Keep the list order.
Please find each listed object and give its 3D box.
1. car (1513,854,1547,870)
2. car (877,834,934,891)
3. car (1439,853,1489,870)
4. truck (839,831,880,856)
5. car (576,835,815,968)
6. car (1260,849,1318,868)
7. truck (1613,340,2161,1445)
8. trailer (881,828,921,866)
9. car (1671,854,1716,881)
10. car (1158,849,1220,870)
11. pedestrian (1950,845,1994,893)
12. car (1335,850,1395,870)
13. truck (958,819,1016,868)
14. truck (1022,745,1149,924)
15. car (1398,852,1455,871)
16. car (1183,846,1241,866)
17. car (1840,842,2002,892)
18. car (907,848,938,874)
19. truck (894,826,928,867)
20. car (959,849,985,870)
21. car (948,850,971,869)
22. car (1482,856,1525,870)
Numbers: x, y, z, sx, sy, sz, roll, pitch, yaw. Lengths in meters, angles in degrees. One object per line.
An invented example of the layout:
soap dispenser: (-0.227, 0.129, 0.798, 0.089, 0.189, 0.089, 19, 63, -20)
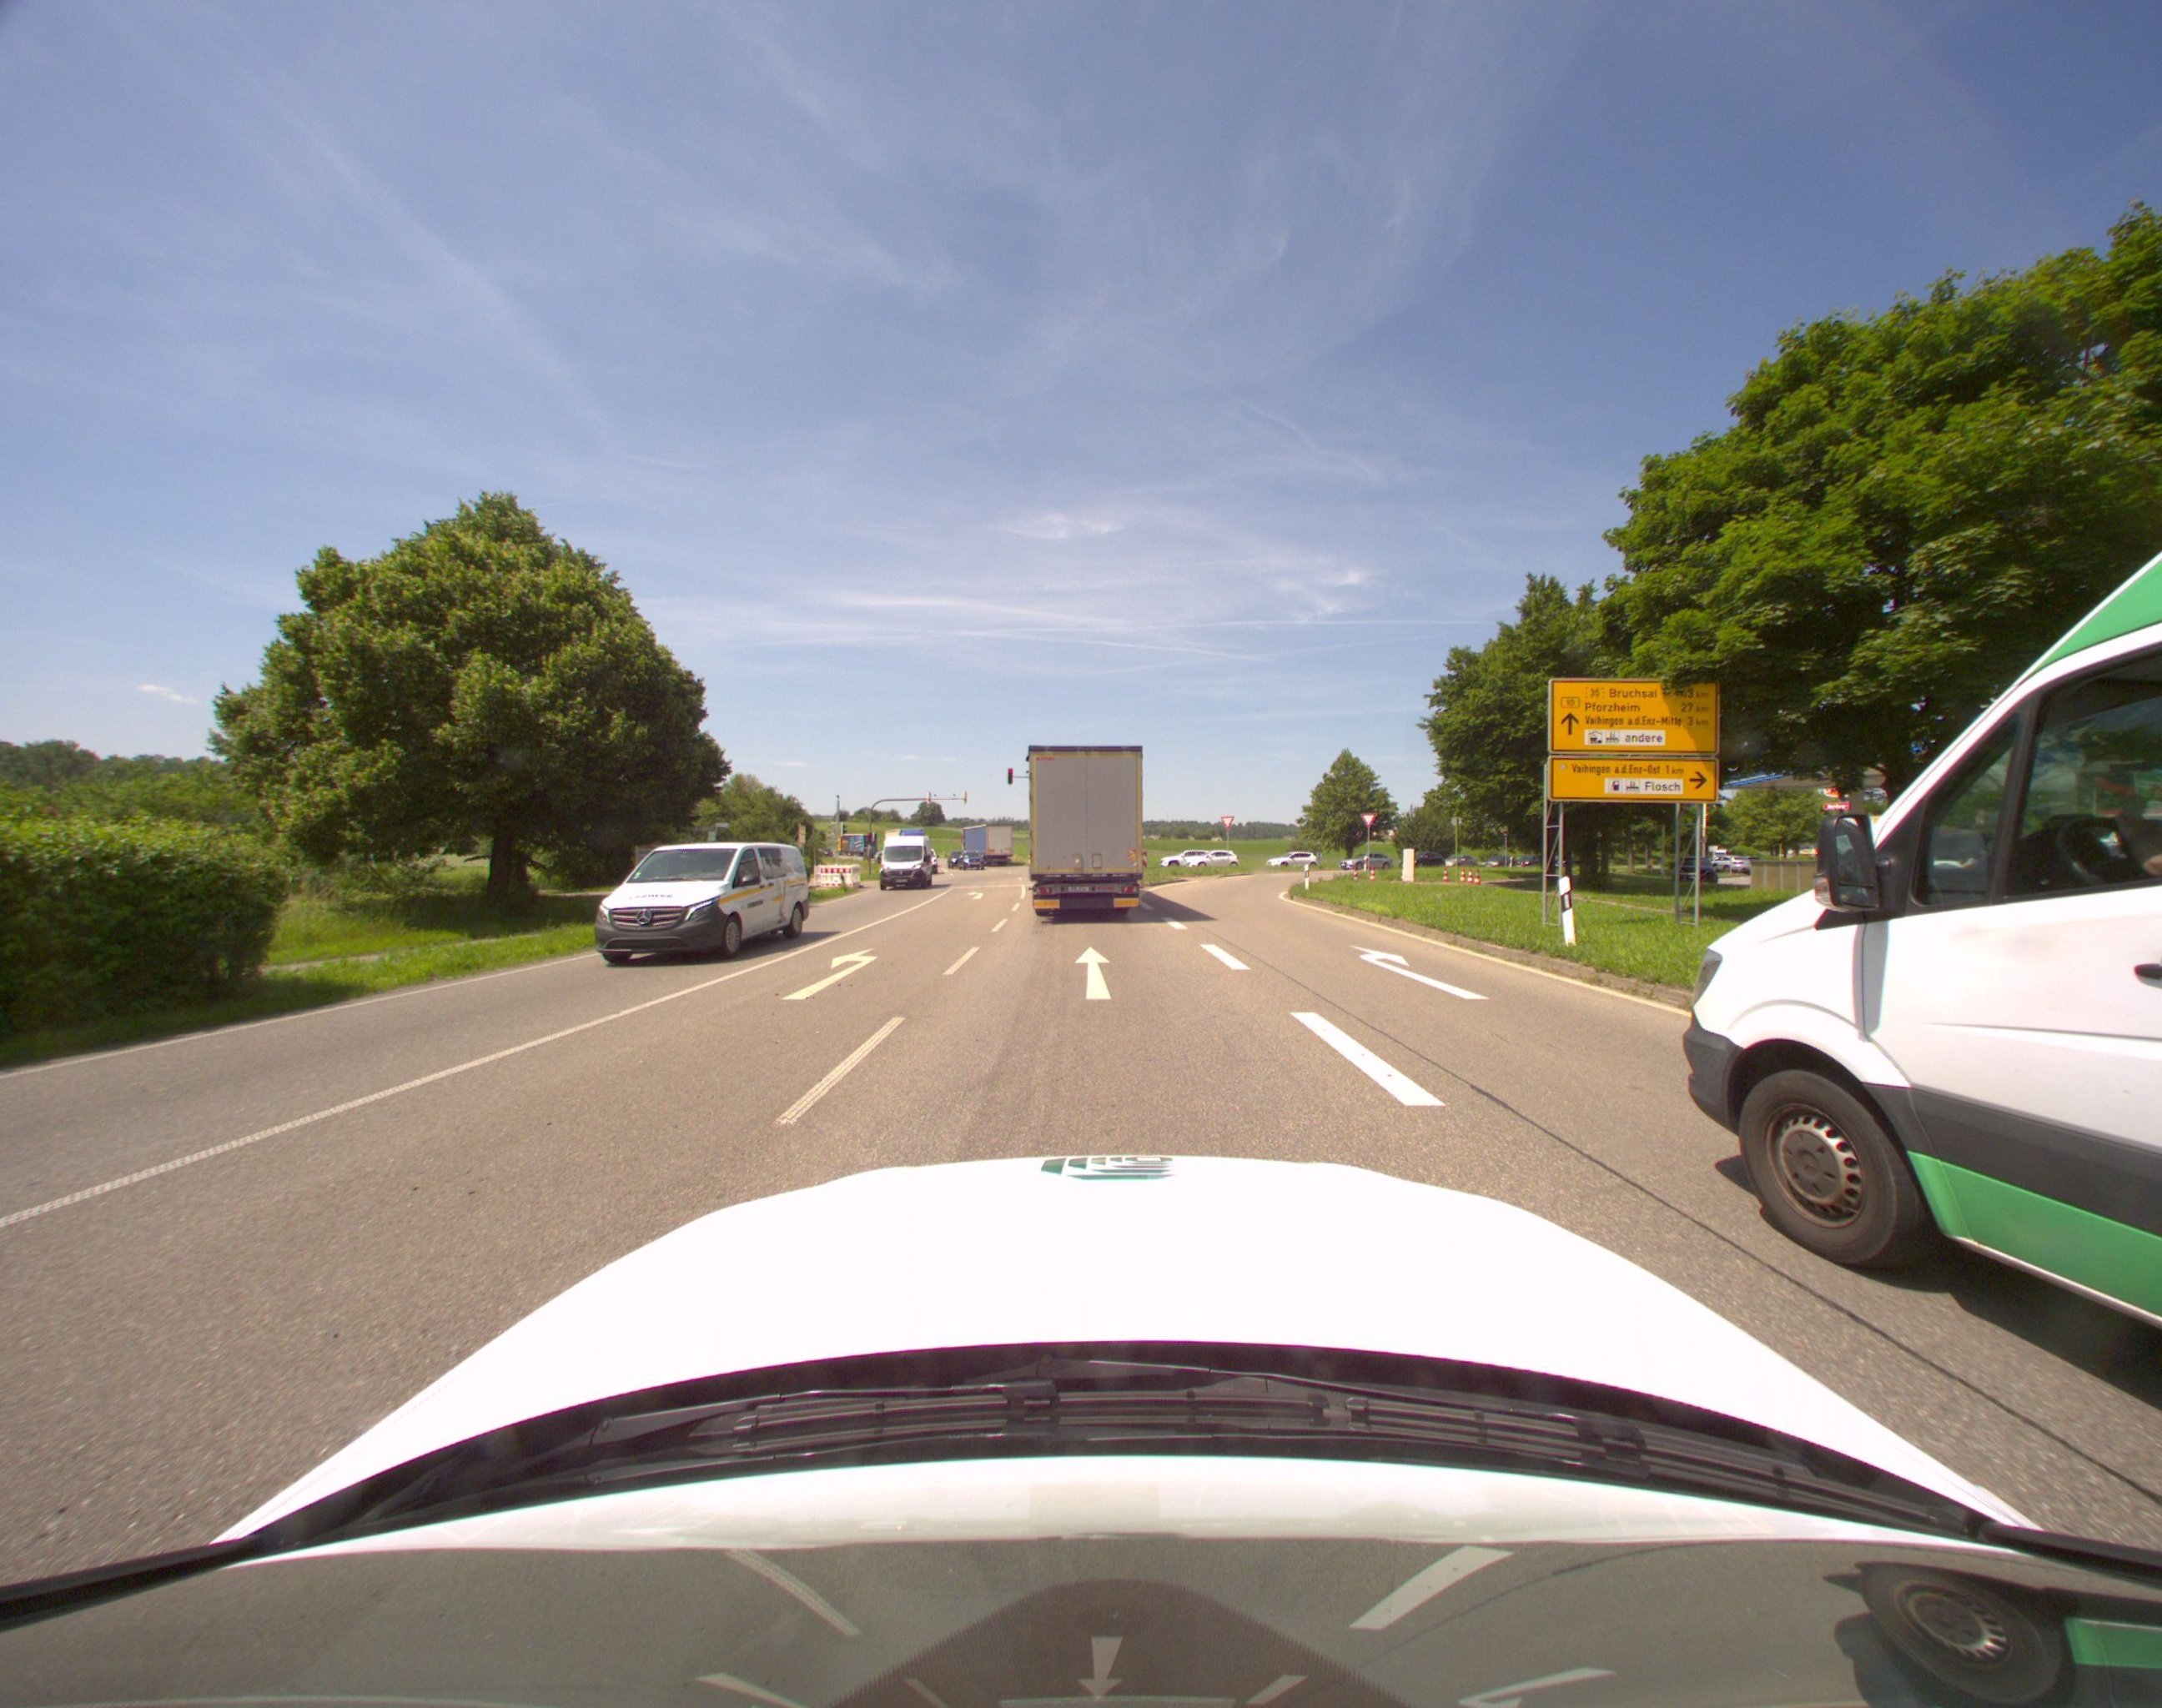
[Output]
car: (44.153, 0.772, 80.071, 4.256, 1.510, 1.779, 1, -2, -44)
car: (-8.260, 0.358, 38.741, 2.049, 2.452, 5.256, -2, 0, -7)
car: (33.739, 0.674, 71.660, 4.577, 1.510, 1.783, 0, -1, -32)
truck: (-41.692, -1.782, 152.787, 3.553, 4.241, 13.267, 0, -1, -33)
car: (-6.355, 0.666, 14.246, 1.868, 1.865, 5.136, -1, 0, -2)
car: (16.208, 0.355, 63.393, 4.106, 1.419, 1.789, -1, -1, -20)
truck: (3.677, 0.085, 1.190, 2.058, 2.737, 5.945, -1, -1, 2)
trailer: (-20.683, -0.775, 93.043, 2.575, 4.029, 13.502, -2, 1, -20)
car: (33.592, 0.737, 44.732, 1.737, 1.363, 4.348, -1, -1, 34)
car: (8.653, 0.422, 65.286, 4.621, 1.607, 1.994, 0, -2, -7)
pedestrian: (28.255, 0.468, 25.831, 0.660, 1.497, 0.725, -1, -1, 20)
car: (22.841, 0.510, 65.450, 4.566, 1.510, 1.787, 1, -2, -23)
truck: (-10.013, -1.070, 84.856, 2.969, 4.583, 16.220, -1, 1, -17)
truck: (-0.145, -0.436, 22.849, 2.802, 3.946, 9.579, 0, 0, -3)
car: (28.652, 0.623, 67.479, 4.569, 1.510, 1.786, 1, -2, -25)
car: (9.844, 0.160, 61.349, 3.959, 1.419, 1.822, -1, -1, -9)
car: (29.151, 0.449, 28.512, 2.015, 1.603, 4.966, -1, -1, 21)
car: (-12.140, 0.518, 62.251, 1.875, 1.886, 4.924, -2, 0, -16)
truck: (-17.762, -0.764, 84.840, 2.575, 4.029, 6.517, -2, 1, -20)
car: (-9.440, 0.479, 70.144, 1.773, 1.658, 3.981, -2, 0, -14)
car: (-11.326, 0.492, 75.859, 1.773, 1.658, 3.982, -2, 0, -13)
car: (39.142, 0.806, 75.421, 4.583, 1.273, 1.780, 0, -2, -38)
